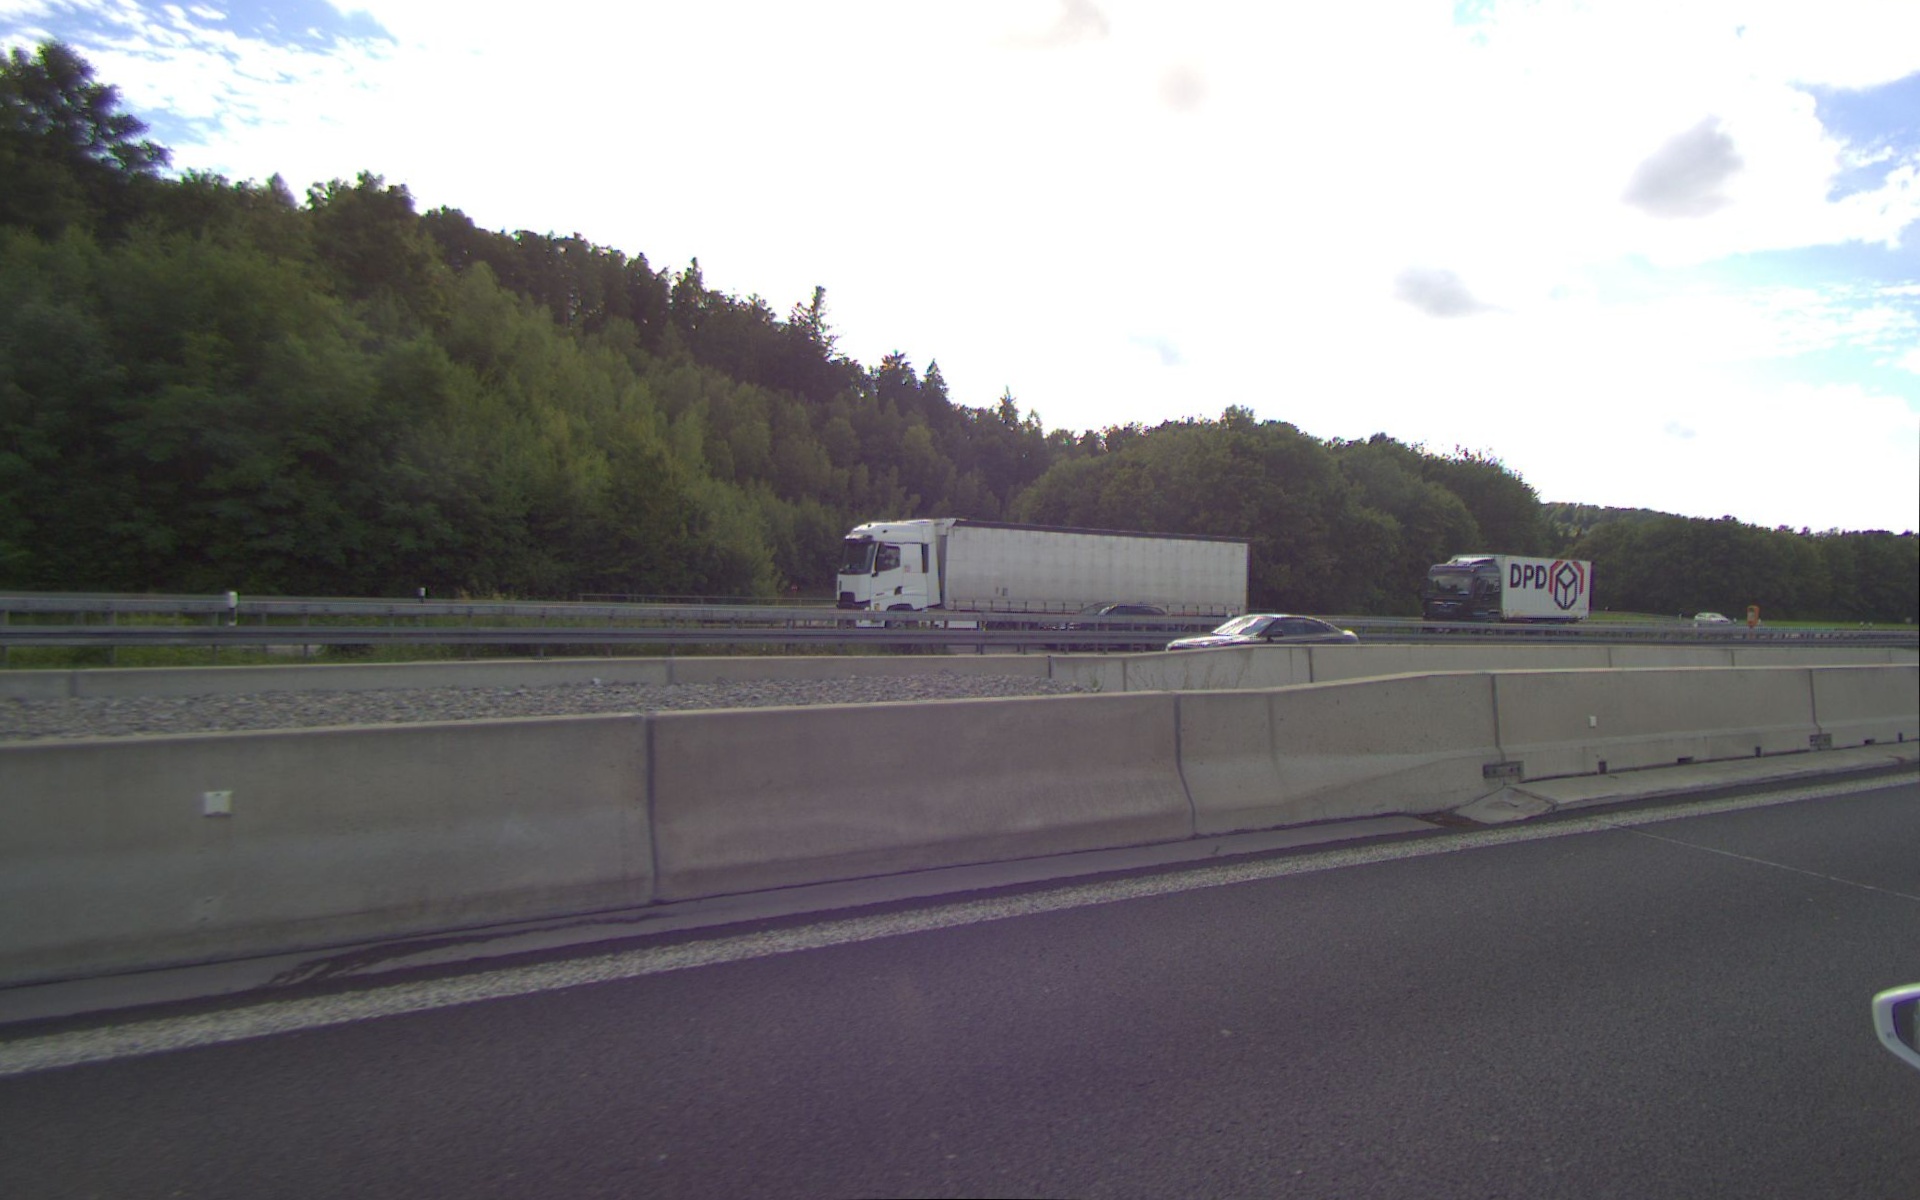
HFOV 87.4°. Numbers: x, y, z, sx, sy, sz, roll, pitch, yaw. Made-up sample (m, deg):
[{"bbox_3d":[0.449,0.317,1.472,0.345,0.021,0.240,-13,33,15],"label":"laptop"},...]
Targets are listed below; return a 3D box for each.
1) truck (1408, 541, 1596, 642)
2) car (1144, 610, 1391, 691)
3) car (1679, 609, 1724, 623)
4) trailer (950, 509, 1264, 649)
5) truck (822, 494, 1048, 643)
[{"bbox_3d":[25.281,-0.258,46.573,10.350,4.021,2.886,3,-1,-32],"label":"truck"},{"bbox_3d":[6.399,1.066,20.713,5.060,1.466,1.866,3,-1,-29],"label":"car"},{"bbox_3d":[82.912,1.744,112.407,1.752,1.450,4.625,1,0,2],"label":"car"},{"bbox_3d":[5.721,-0.547,37.405,11.999,4.349,3.305,3,-1,-30],"label":"trailer"},{"bbox_3d":[-0.805,-0.905,33.591,6.669,4.349,3.305,3,-1,-30],"label":"truck"}]
